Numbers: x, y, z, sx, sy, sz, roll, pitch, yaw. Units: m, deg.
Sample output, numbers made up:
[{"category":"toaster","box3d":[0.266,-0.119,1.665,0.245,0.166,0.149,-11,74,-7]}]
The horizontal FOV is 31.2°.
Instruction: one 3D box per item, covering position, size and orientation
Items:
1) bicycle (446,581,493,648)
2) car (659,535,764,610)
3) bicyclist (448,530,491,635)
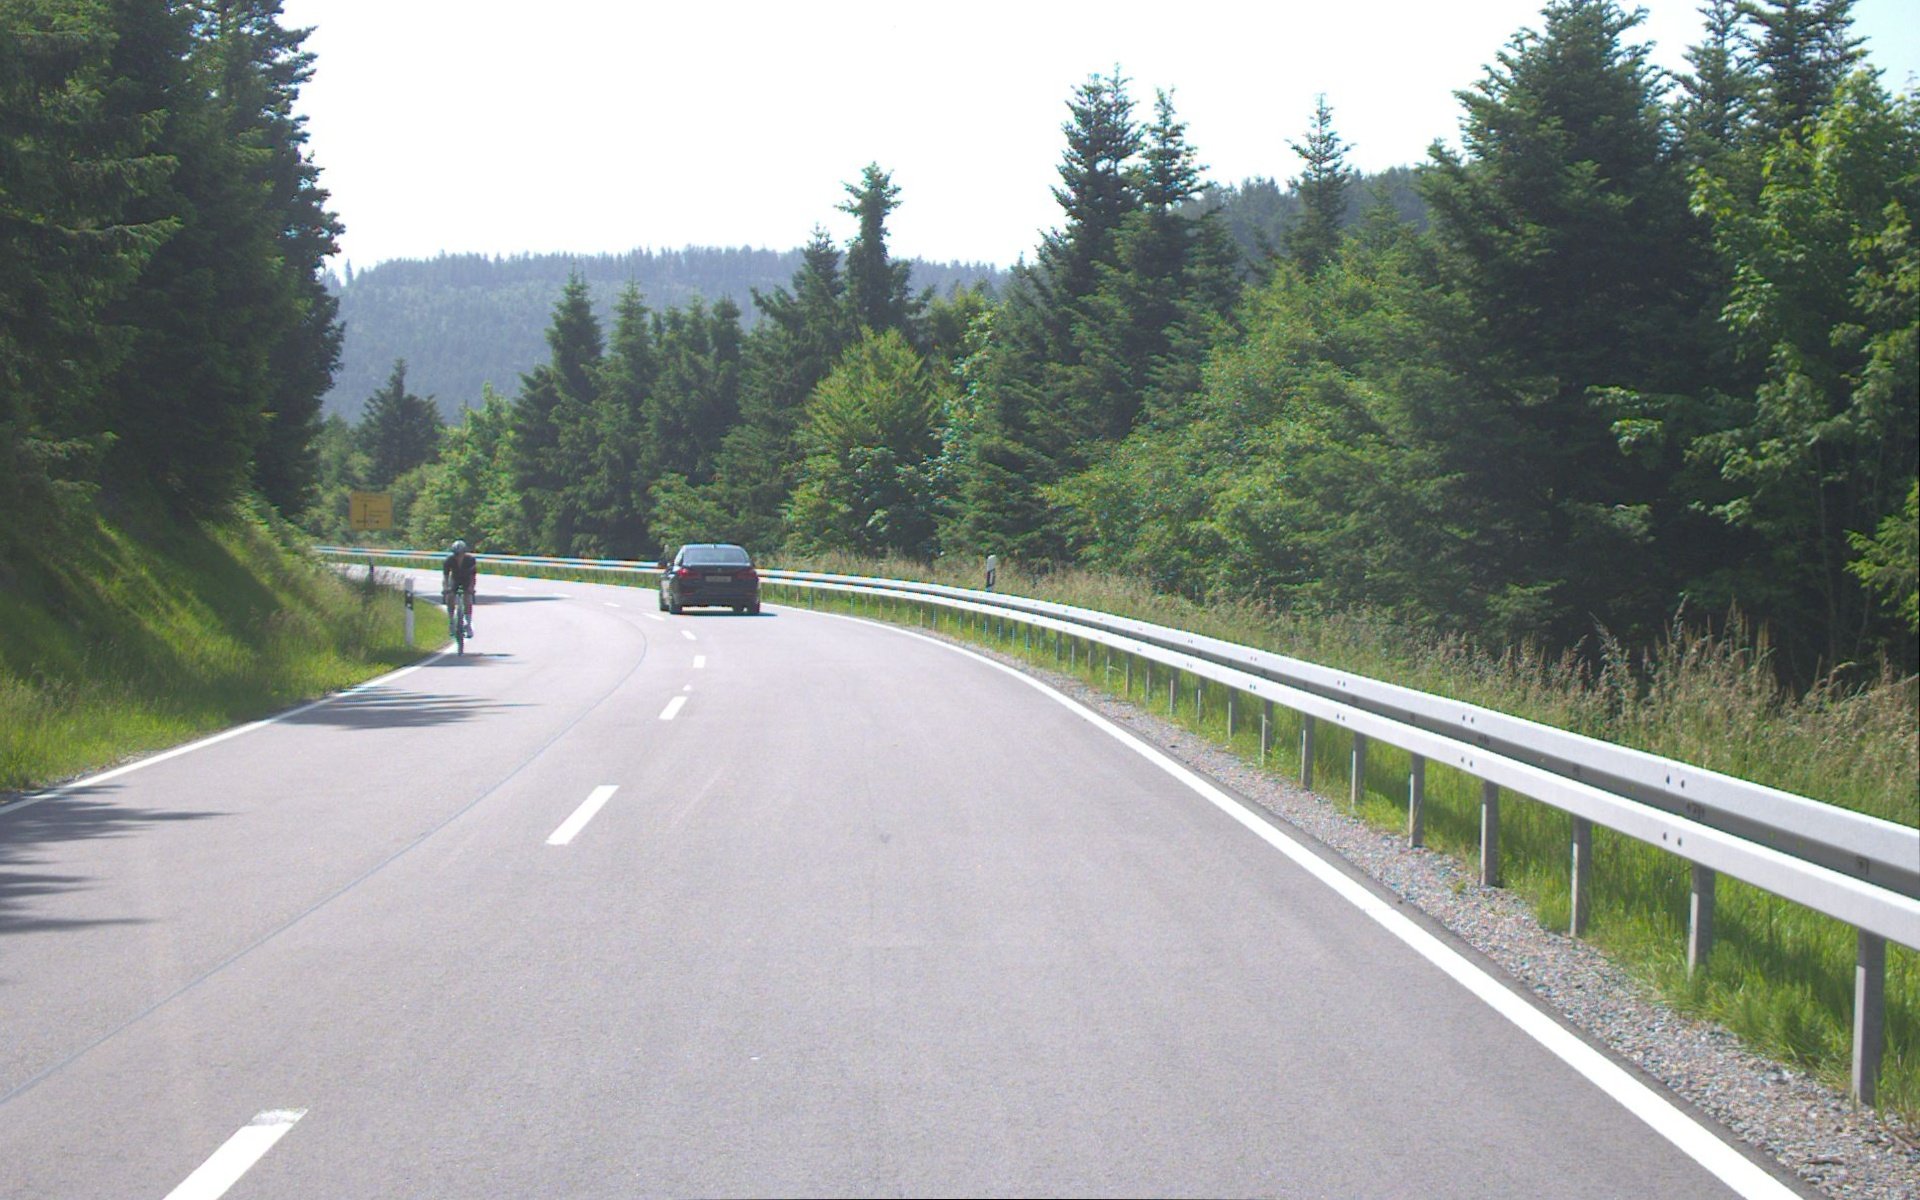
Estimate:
[{"category":"bicycle","box3d":[-6.855,0.194,48.112,0.553,0.883,2.063,-1,1,-6]},{"category":"car","box3d":[-5.057,-0.582,69.712,1.775,1.437,3.710,-1,1,-9]},{"category":"bicyclist","box3d":[-6.854,-0.250,48.043,0.541,1.446,0.984,-1,1,-6]}]
